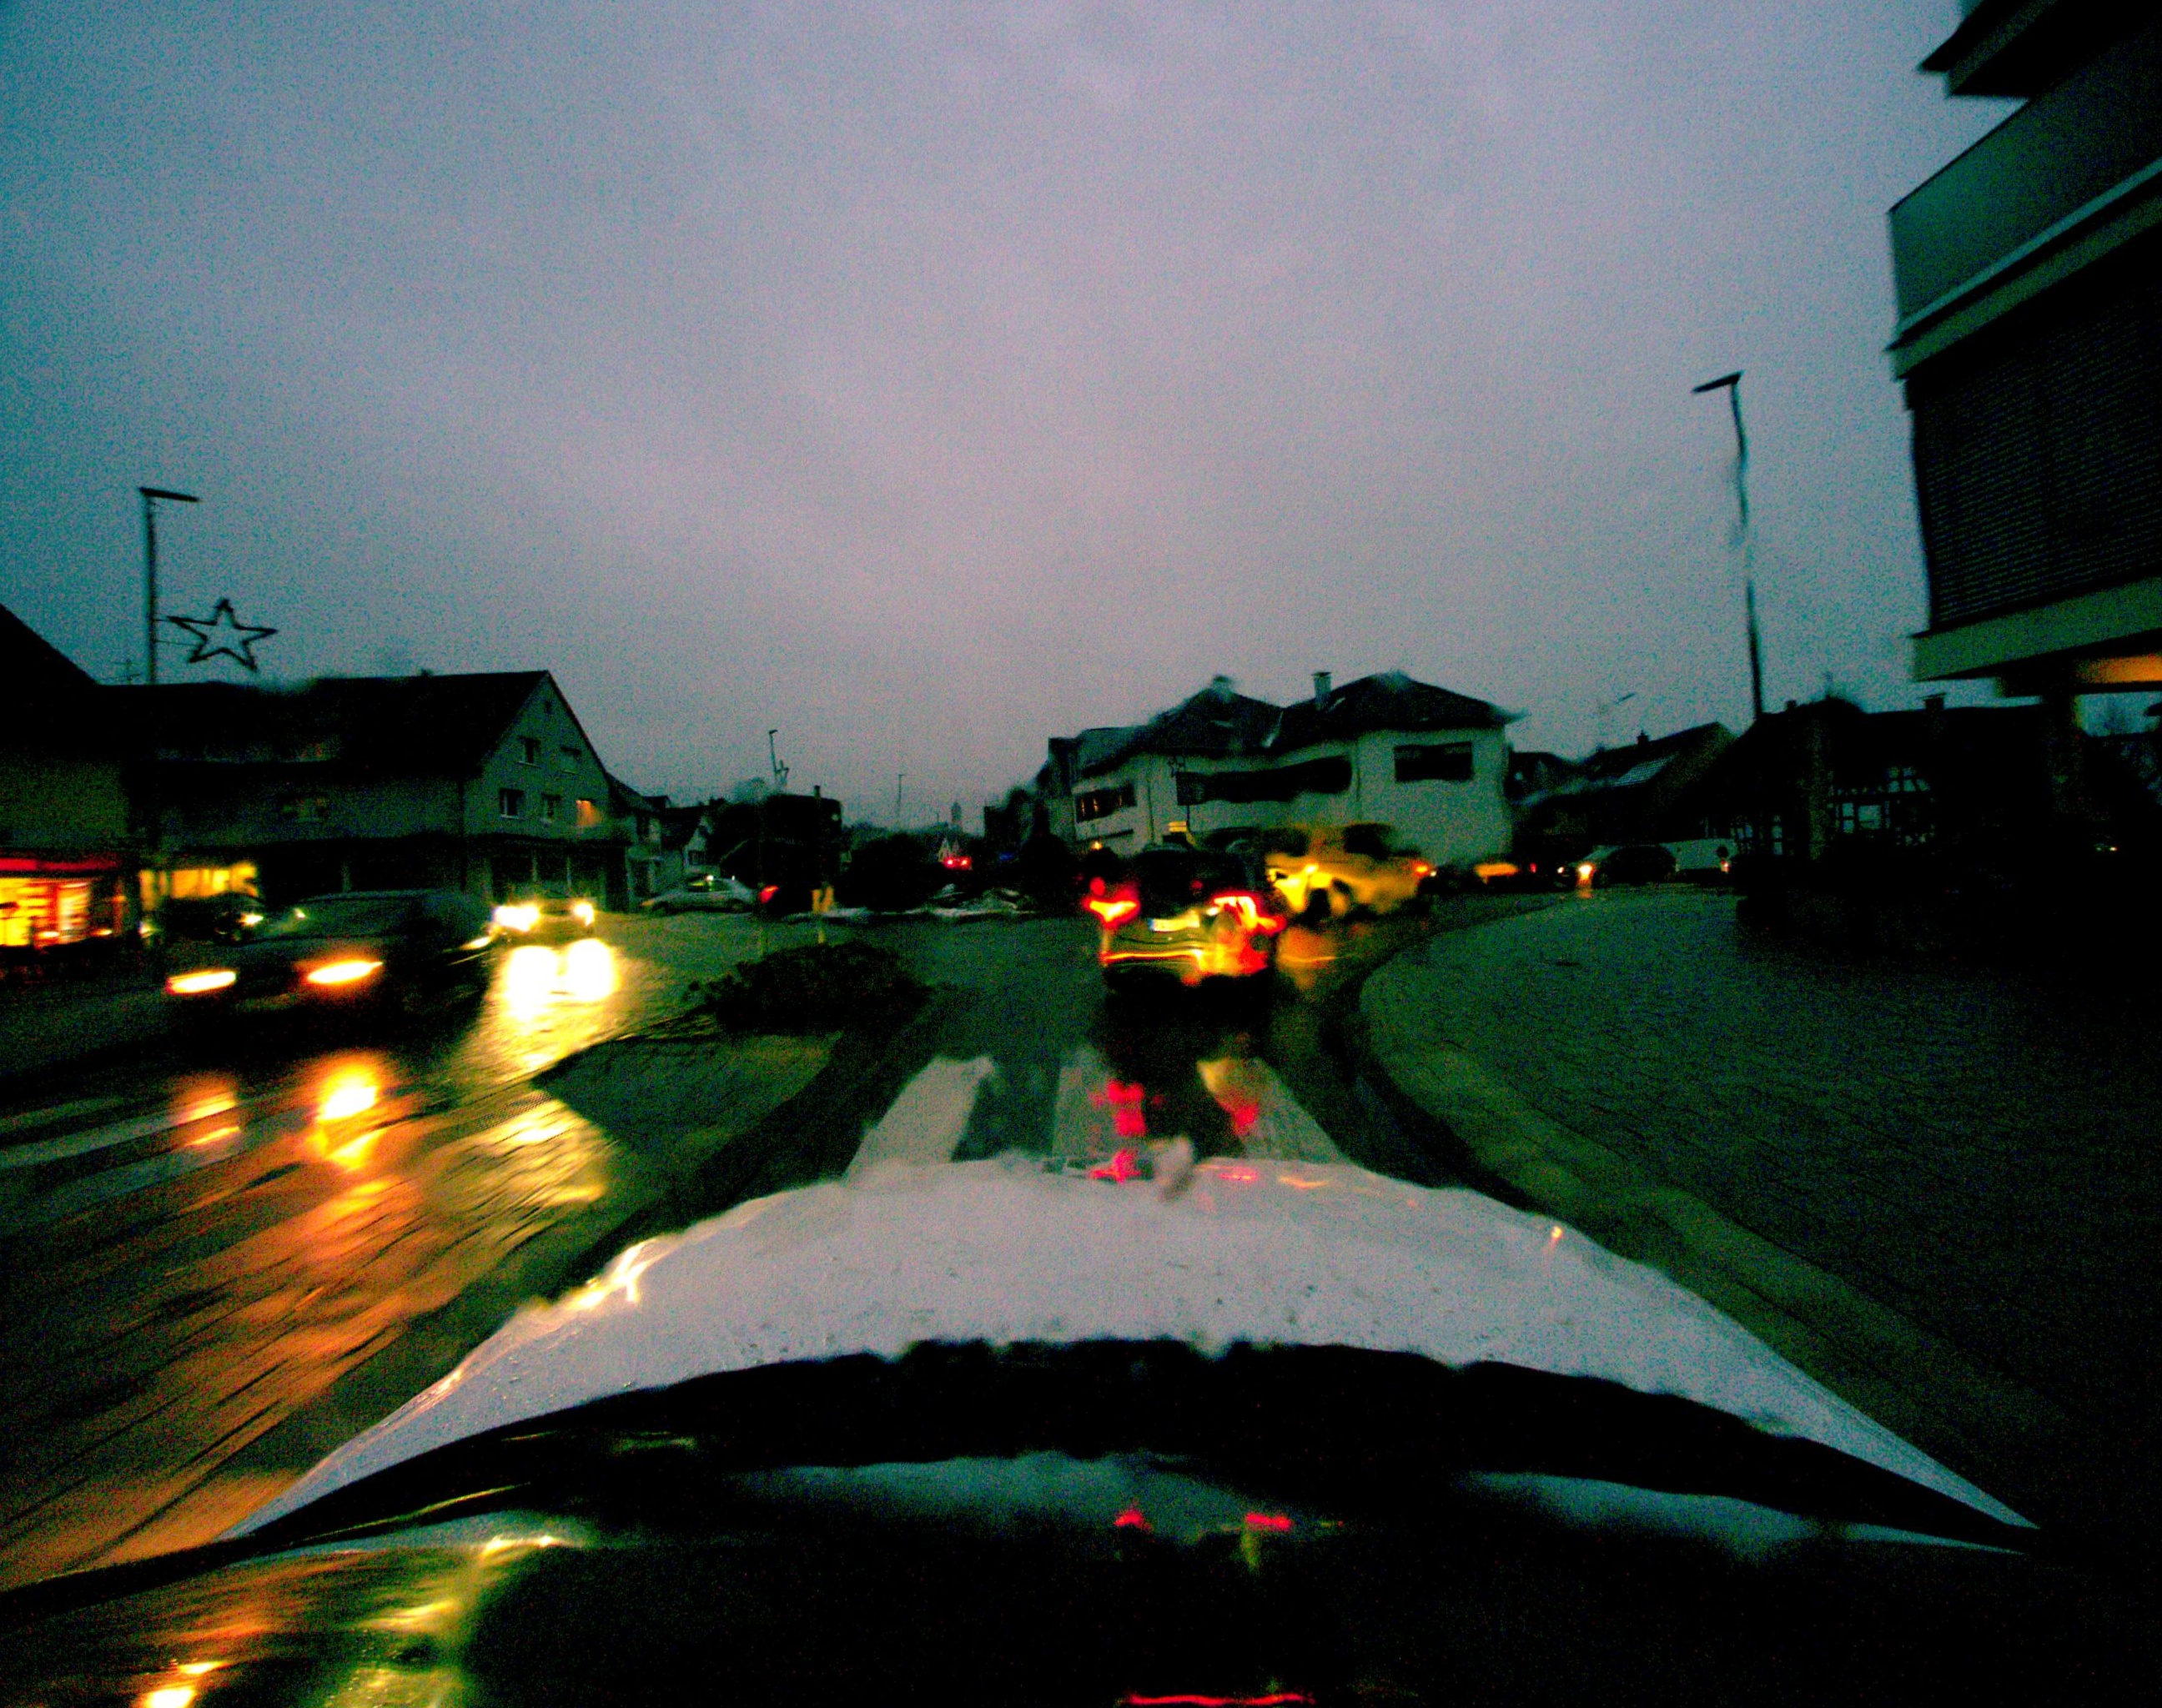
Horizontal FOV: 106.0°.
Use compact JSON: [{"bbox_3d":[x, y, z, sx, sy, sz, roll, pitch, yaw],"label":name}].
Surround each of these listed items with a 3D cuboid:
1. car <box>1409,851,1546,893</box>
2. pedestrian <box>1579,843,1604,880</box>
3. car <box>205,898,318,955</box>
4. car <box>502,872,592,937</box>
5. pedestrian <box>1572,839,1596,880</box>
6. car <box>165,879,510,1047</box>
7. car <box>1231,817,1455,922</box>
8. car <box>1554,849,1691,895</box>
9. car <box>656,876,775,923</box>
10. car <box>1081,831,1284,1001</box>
[{"bbox_3d":[14.800,0.697,30.540,4.211,1.384,1.848,-2,-3,-3],"label":"car"},{"bbox_3d":[22.912,0.313,36.549,0.711,1.621,0.584,-2,0,9],"label":"pedestrian"},{"bbox_3d":[-27.914,2.383,27.698,4.572,1.593,1.966,-1,0,35],"label":"car"},{"bbox_3d":[-13.426,1.268,20.446,1.722,1.422,3.969,-1,-3,-34],"label":"car"},{"bbox_3d":[23.029,0.248,37.309,0.711,1.832,0.639,-2,1,9],"label":"pedestrian"},{"bbox_3d":[-7.963,1.038,9.149,1.507,1.411,3.347,-2,-1,-17],"label":"car"},{"bbox_3d":[5.802,0.270,17.813,4.919,2.014,1.979,-1,-1,-34],"label":"car"},{"bbox_3d":[20.168,0.675,30.445,3.974,1.552,1.696,-2,-2,0],"label":"car"},{"bbox_3d":[-14.669,1.801,32.882,4.056,1.662,1.698,-2,-1,-10],"label":"car"},{"bbox_3d":[1.438,0.624,9.864,1.902,1.615,3.965,-2,-1,14],"label":"car"}]
